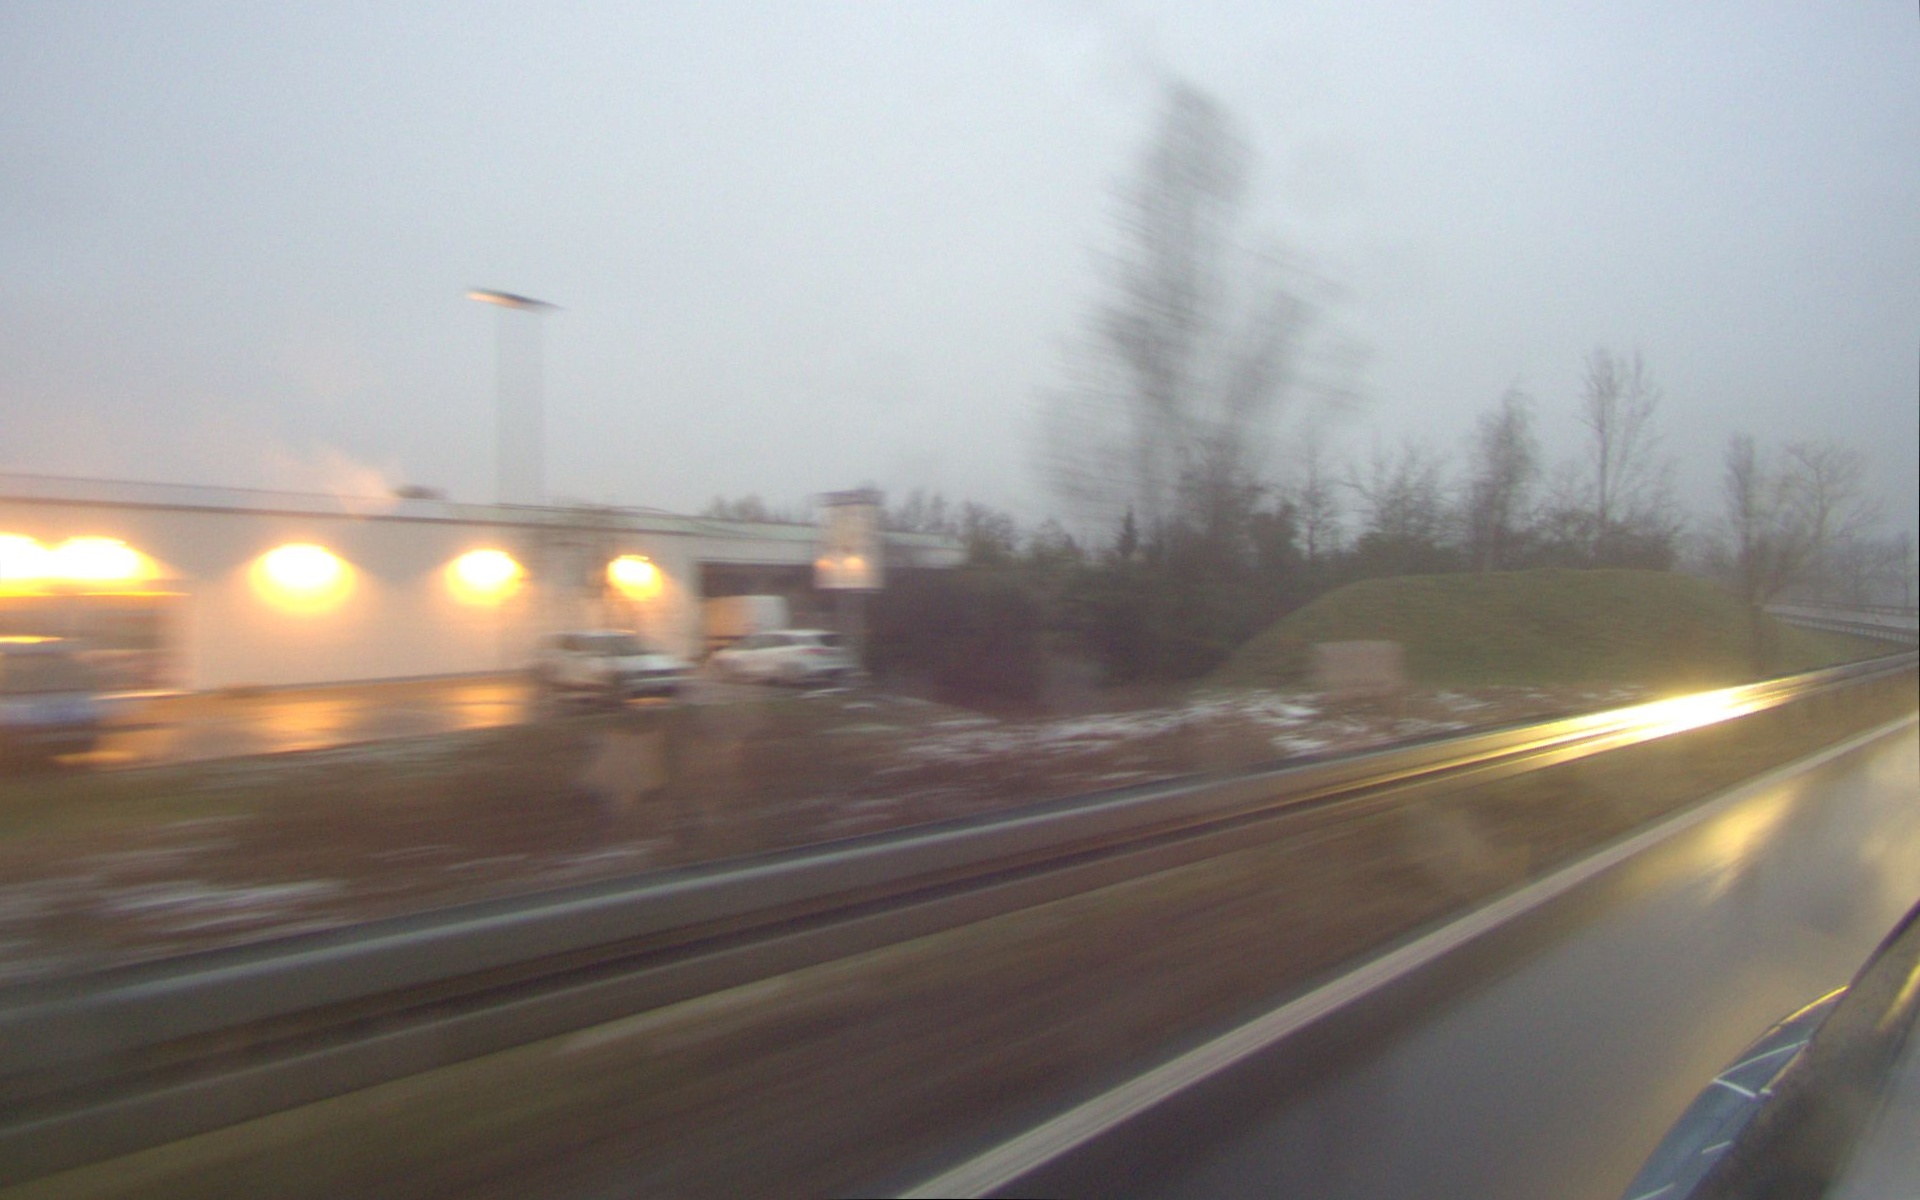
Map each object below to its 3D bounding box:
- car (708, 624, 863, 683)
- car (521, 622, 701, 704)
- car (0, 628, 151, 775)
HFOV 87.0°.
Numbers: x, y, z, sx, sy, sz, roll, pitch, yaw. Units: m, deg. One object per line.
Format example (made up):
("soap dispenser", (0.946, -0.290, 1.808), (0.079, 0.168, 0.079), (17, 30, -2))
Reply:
("car", (-4.941, 1.482, 28.507), (4.165, 1.537, 1.974), (-2, -3, 36))
("car", (-8.220, 1.401, 23.671), (4.382, 1.737, 1.972), (-2, -1, 38))
("car", (-14.289, 1.416, 15.291), (4.228, 1.878, 1.977), (0, -1, 32))
